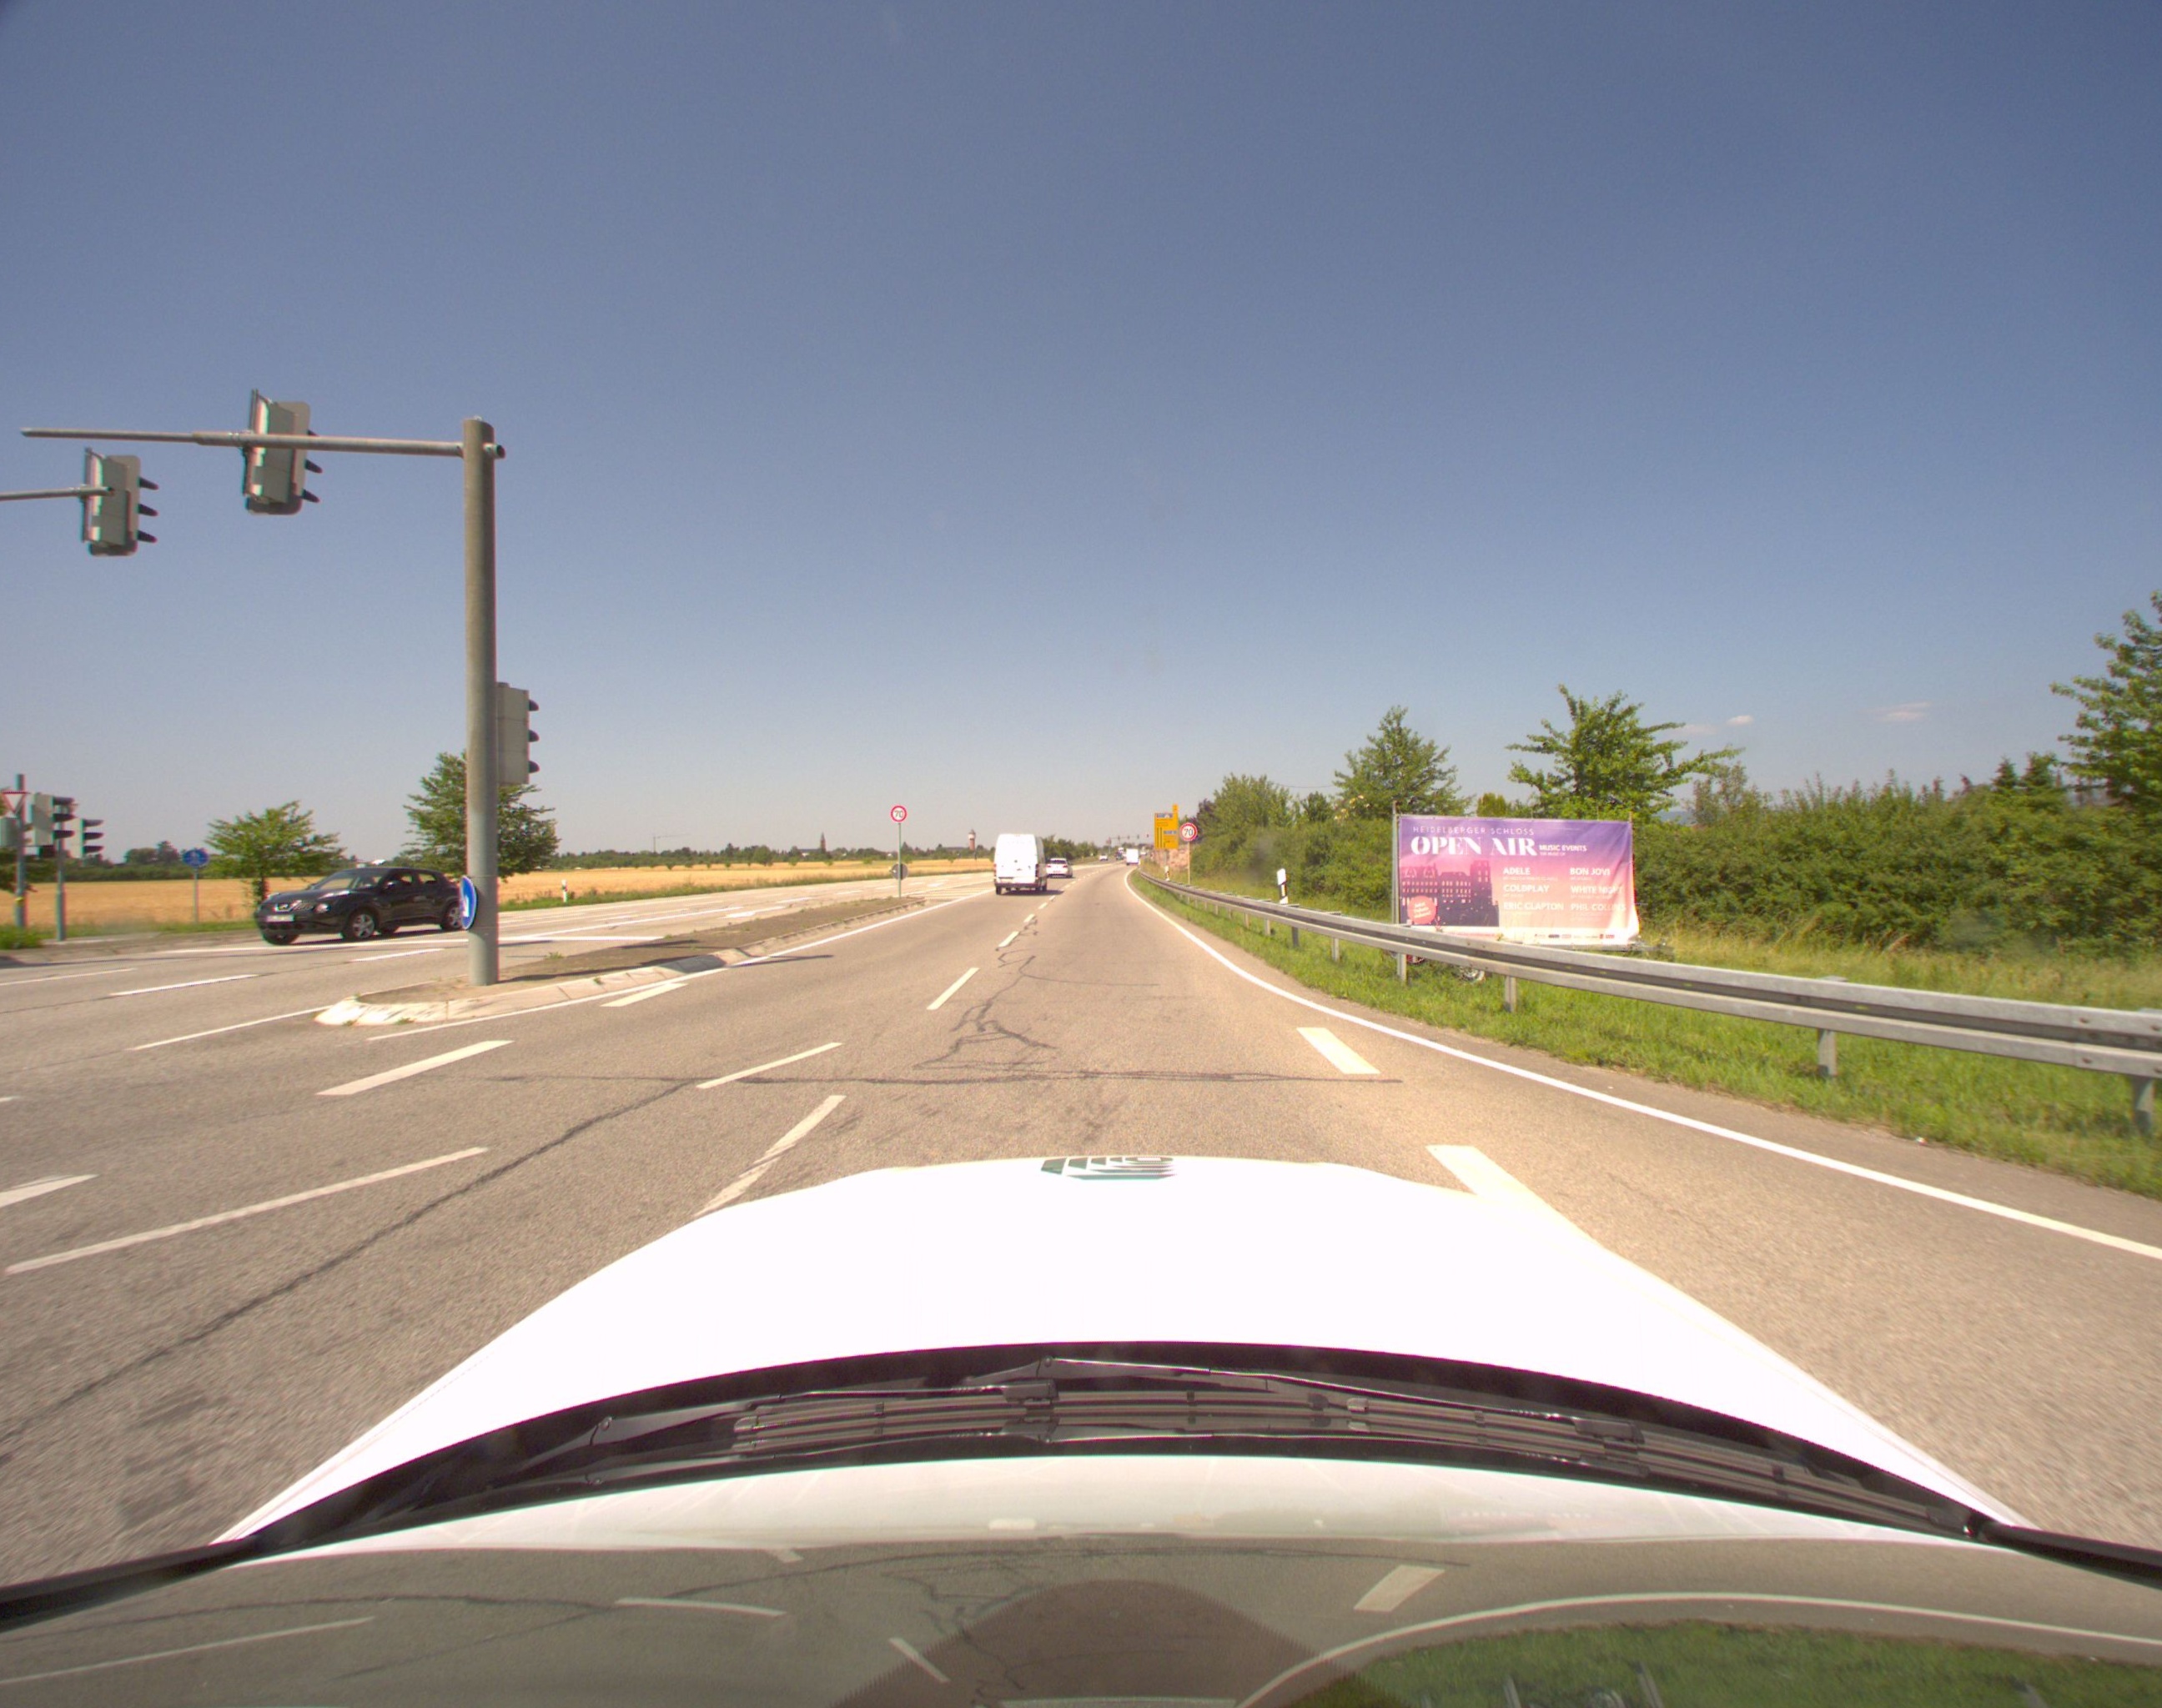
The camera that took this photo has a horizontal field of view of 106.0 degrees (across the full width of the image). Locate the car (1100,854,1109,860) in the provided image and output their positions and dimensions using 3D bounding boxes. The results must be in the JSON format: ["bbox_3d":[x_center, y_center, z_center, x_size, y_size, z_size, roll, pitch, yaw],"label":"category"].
[{"bbox_3d":[5.678,0.726,197.554,1.740,1.442,4.088,-1,0,6],"label":"car"}]

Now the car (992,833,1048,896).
[{"bbox_3d":[-2.690,0.431,37.335,2.032,2.620,5.742,0,0,1],"label":"car"}]

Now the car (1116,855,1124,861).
[{"bbox_3d":[9.799,0.998,202.086,1.740,1.442,4.088,-1,0,6],"label":"car"}]

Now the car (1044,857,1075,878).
[{"bbox_3d":[-1.556,0.983,60.879,1.790,1.508,4.203,0,0,6],"label":"car"}]

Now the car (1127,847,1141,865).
[{"bbox_3d":[8.318,0.336,127.984,1.983,2.695,4.977,1,-1,6],"label":"car"}]

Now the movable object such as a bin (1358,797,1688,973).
[{"bbox_3d":[6.217,0.431,11.662,4.083,2.331,1.276,1,-1,-2],"label":"movable object such as a bin"}]

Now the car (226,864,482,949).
[{"bbox_3d":[-15.762,1.045,18.038,1.825,1.600,4.303,-2,-1,-1],"label":"car"}]

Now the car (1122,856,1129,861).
[{"bbox_3d":[12.771,1.219,235.343,1.740,1.442,4.088,1,-1,6],"label":"car"}]
